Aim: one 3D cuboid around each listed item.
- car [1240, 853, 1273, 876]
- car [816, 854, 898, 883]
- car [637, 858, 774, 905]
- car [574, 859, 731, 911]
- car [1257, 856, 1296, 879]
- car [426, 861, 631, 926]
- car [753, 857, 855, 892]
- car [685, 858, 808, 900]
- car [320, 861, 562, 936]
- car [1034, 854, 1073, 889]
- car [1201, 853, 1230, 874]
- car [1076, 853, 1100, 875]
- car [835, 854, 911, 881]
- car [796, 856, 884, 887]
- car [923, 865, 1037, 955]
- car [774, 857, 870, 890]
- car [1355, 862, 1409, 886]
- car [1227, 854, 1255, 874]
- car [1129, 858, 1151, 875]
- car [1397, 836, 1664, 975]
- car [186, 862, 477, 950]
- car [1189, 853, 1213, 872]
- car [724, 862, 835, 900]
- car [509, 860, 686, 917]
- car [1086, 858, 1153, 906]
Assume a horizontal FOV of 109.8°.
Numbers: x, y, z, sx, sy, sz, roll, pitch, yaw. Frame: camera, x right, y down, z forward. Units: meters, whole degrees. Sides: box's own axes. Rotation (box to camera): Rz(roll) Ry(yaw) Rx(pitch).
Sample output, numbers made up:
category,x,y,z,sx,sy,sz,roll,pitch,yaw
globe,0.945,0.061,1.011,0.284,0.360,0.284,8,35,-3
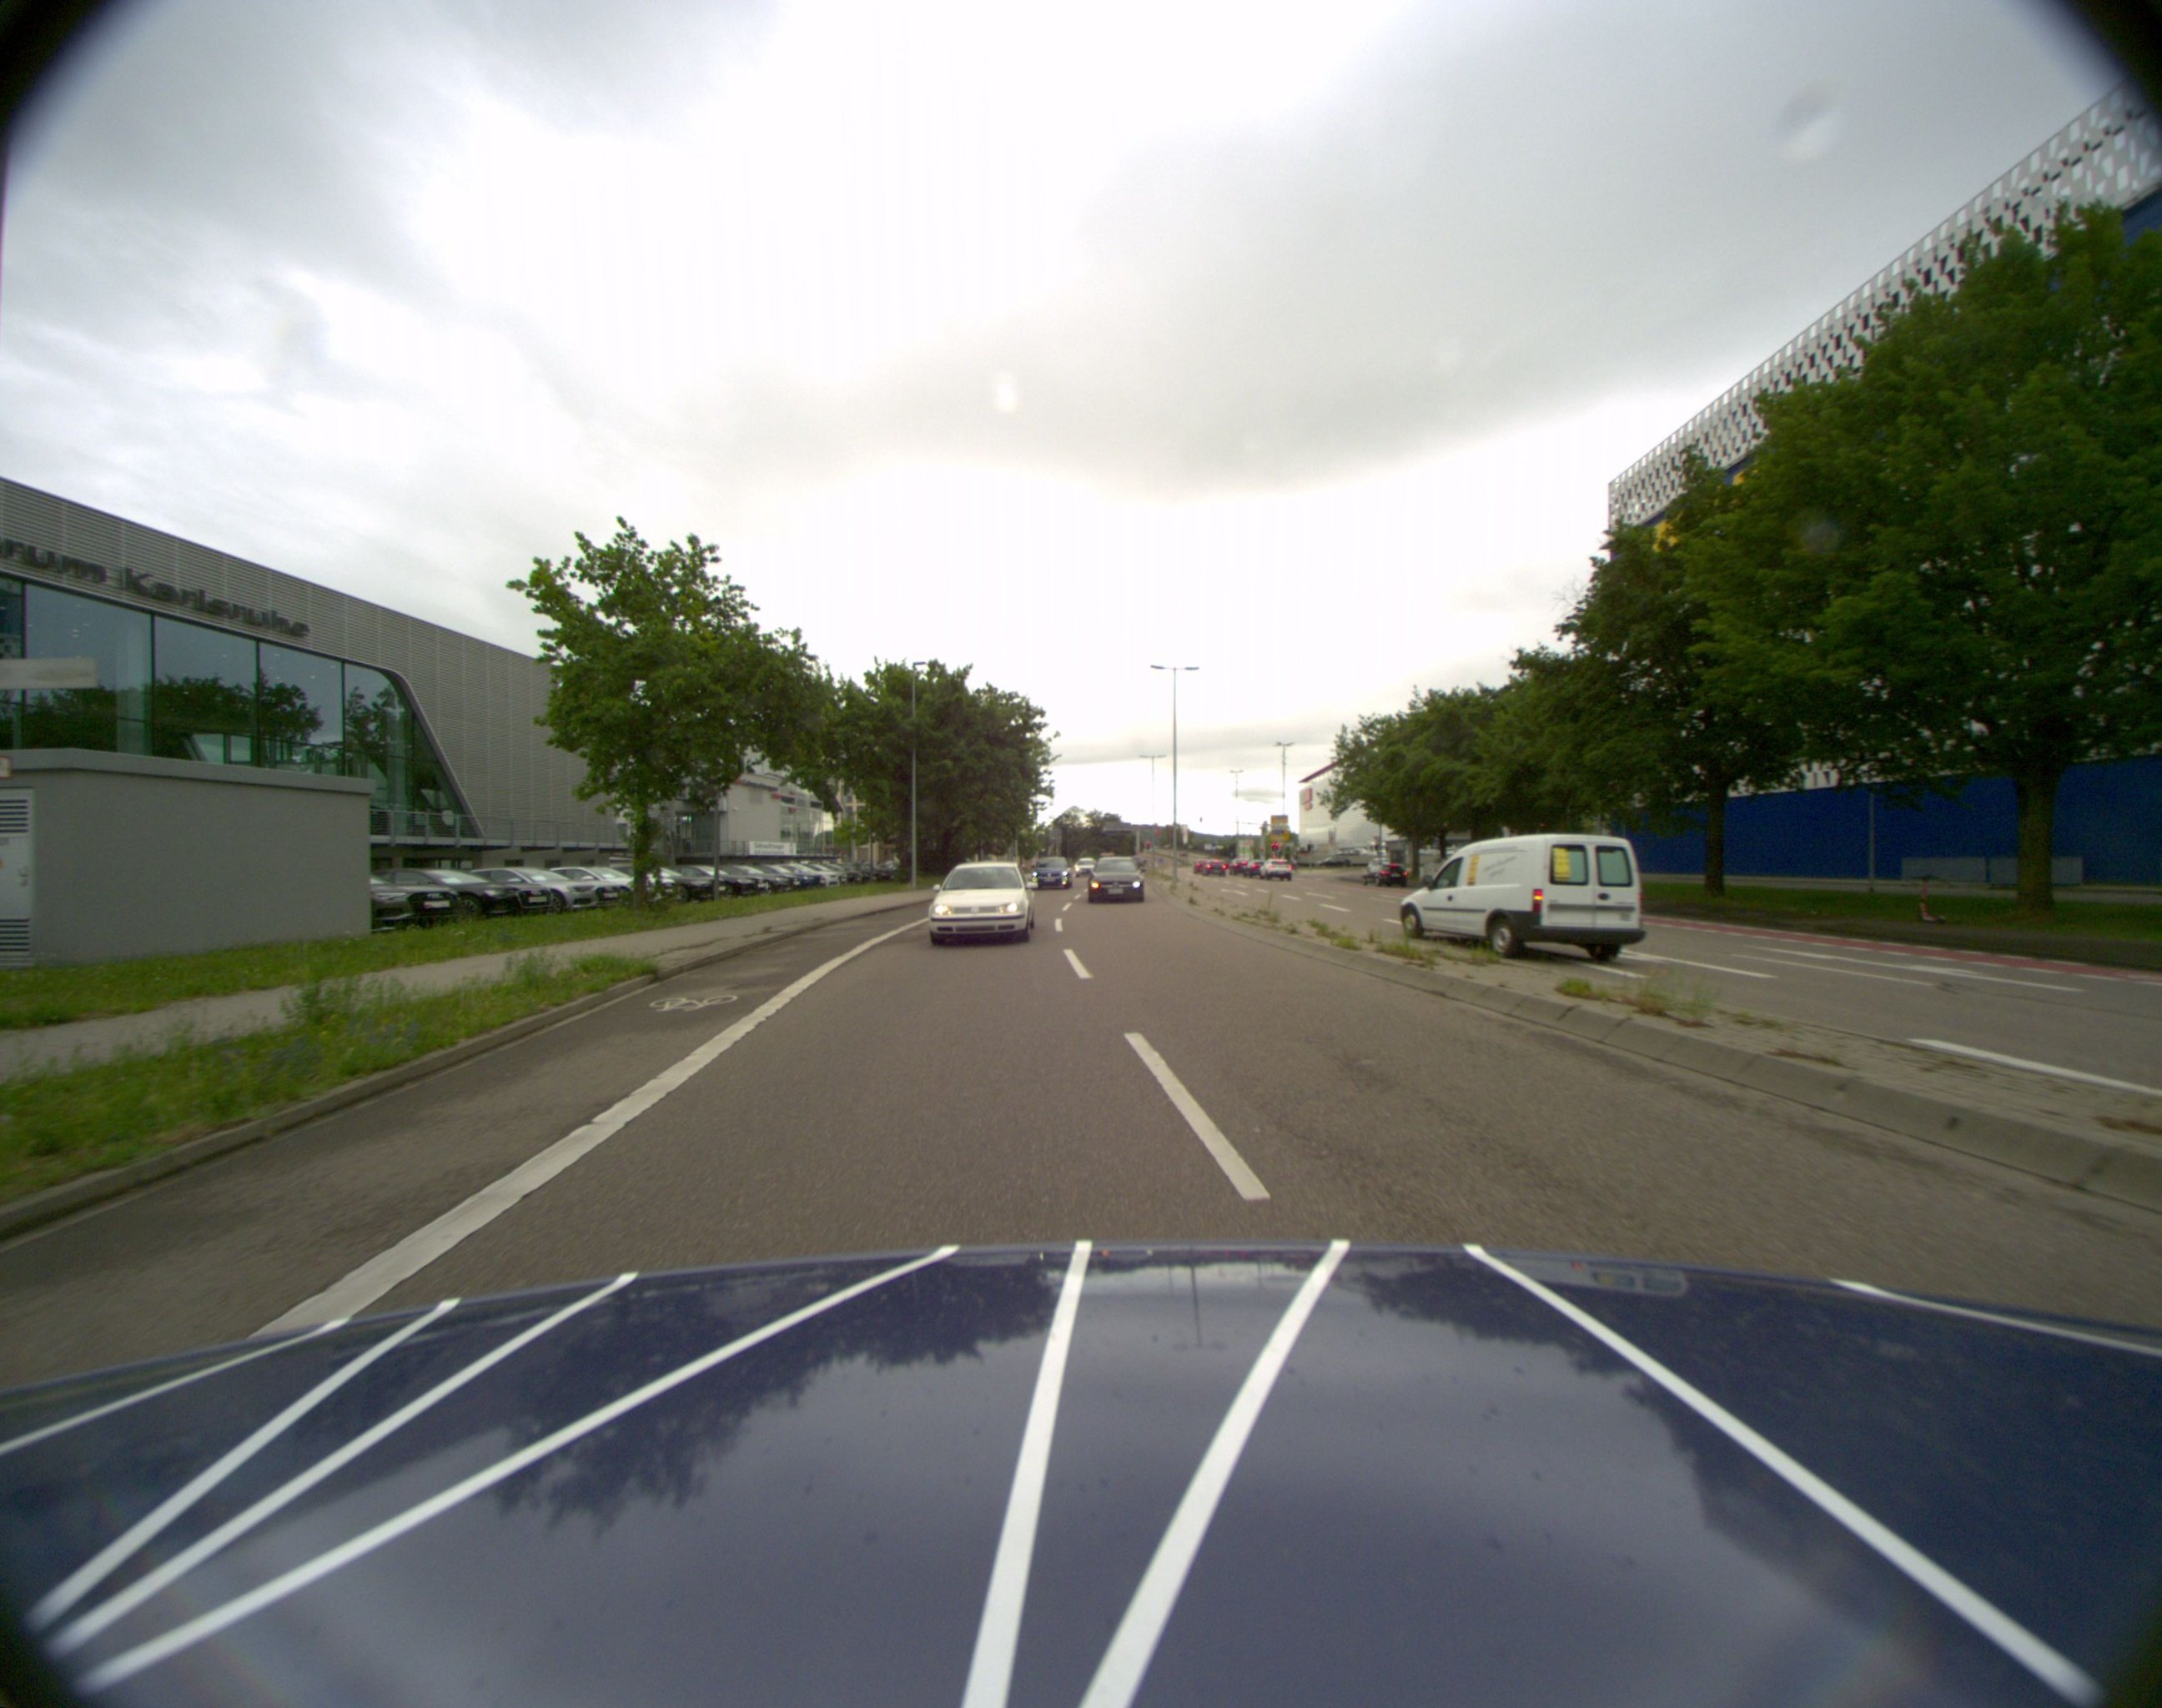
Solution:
category,x,y,z,sx,sy,sz,roll,pitch,yaw
car,14.722,0.861,64.033,1.651,1.788,3.980,2,0,-2
car,-12.655,0.824,43.114,4.040,1.384,1.728,-3,0,2
car,-13.488,0.969,27.409,4.040,1.384,1.728,-3,0,4
car,-13.756,0.978,24.505,4.040,1.384,1.728,-3,0,4
car,14.842,1.005,57.892,1.727,1.602,3.980,2,0,-2
car,-14.198,0.993,19.648,4.040,1.384,1.728,-3,0,4
car,-12.831,0.928,35.306,4.040,1.384,1.728,-3,0,4
car,-13.207,0.963,30.142,4.040,1.384,1.728,-3,0,4
car,-14.401,0.970,17.237,4.040,1.384,1.728,-3,0,4
car,-1.354,0.816,37.807,1.787,1.637,3.999,-1,0,-2
car,11.841,0.835,67.336,1.651,1.788,3.980,2,0,-2
car,0.612,0.828,66.340,1.994,1.838,4.104,0,0,1
car,-12.536,0.795,45.906,4.040,1.384,1.728,-3,0,4
car,-12.784,0.932,40.469,4.040,1.384,1.728,-3,0,4
car,-1.798,0.956,14.625,1.726,1.416,3.940,-2,0,-1
car,-12.751,0.944,37.571,4.040,1.384,1.728,-3,0,4
car,19.104,1.241,48.354,1.651,1.382,3.980,2,0,-2
car,15.521,0.936,74.016,1.651,1.788,3.980,2,0,-2
car,5.183,1.104,67.512,1.836,1.416,4.001,-2,0,4
car,6.701,0.682,11.901,1.651,1.788,3.980,1,0,-3
car,-14.474,0.968,14.816,4.040,1.384,1.728,-3,0,4
car,12.083,0.822,76.724,1.651,1.788,3.980,2,0,-2
car,-12.965,1.151,32.815,4.040,1.384,1.728,-3,0,4
car,-14.024,0.972,22.174,4.040,1.384,1.728,-3,0,4
car,1.188,0.858,25.380,1.837,1.416,3.999,-2,0,-2
